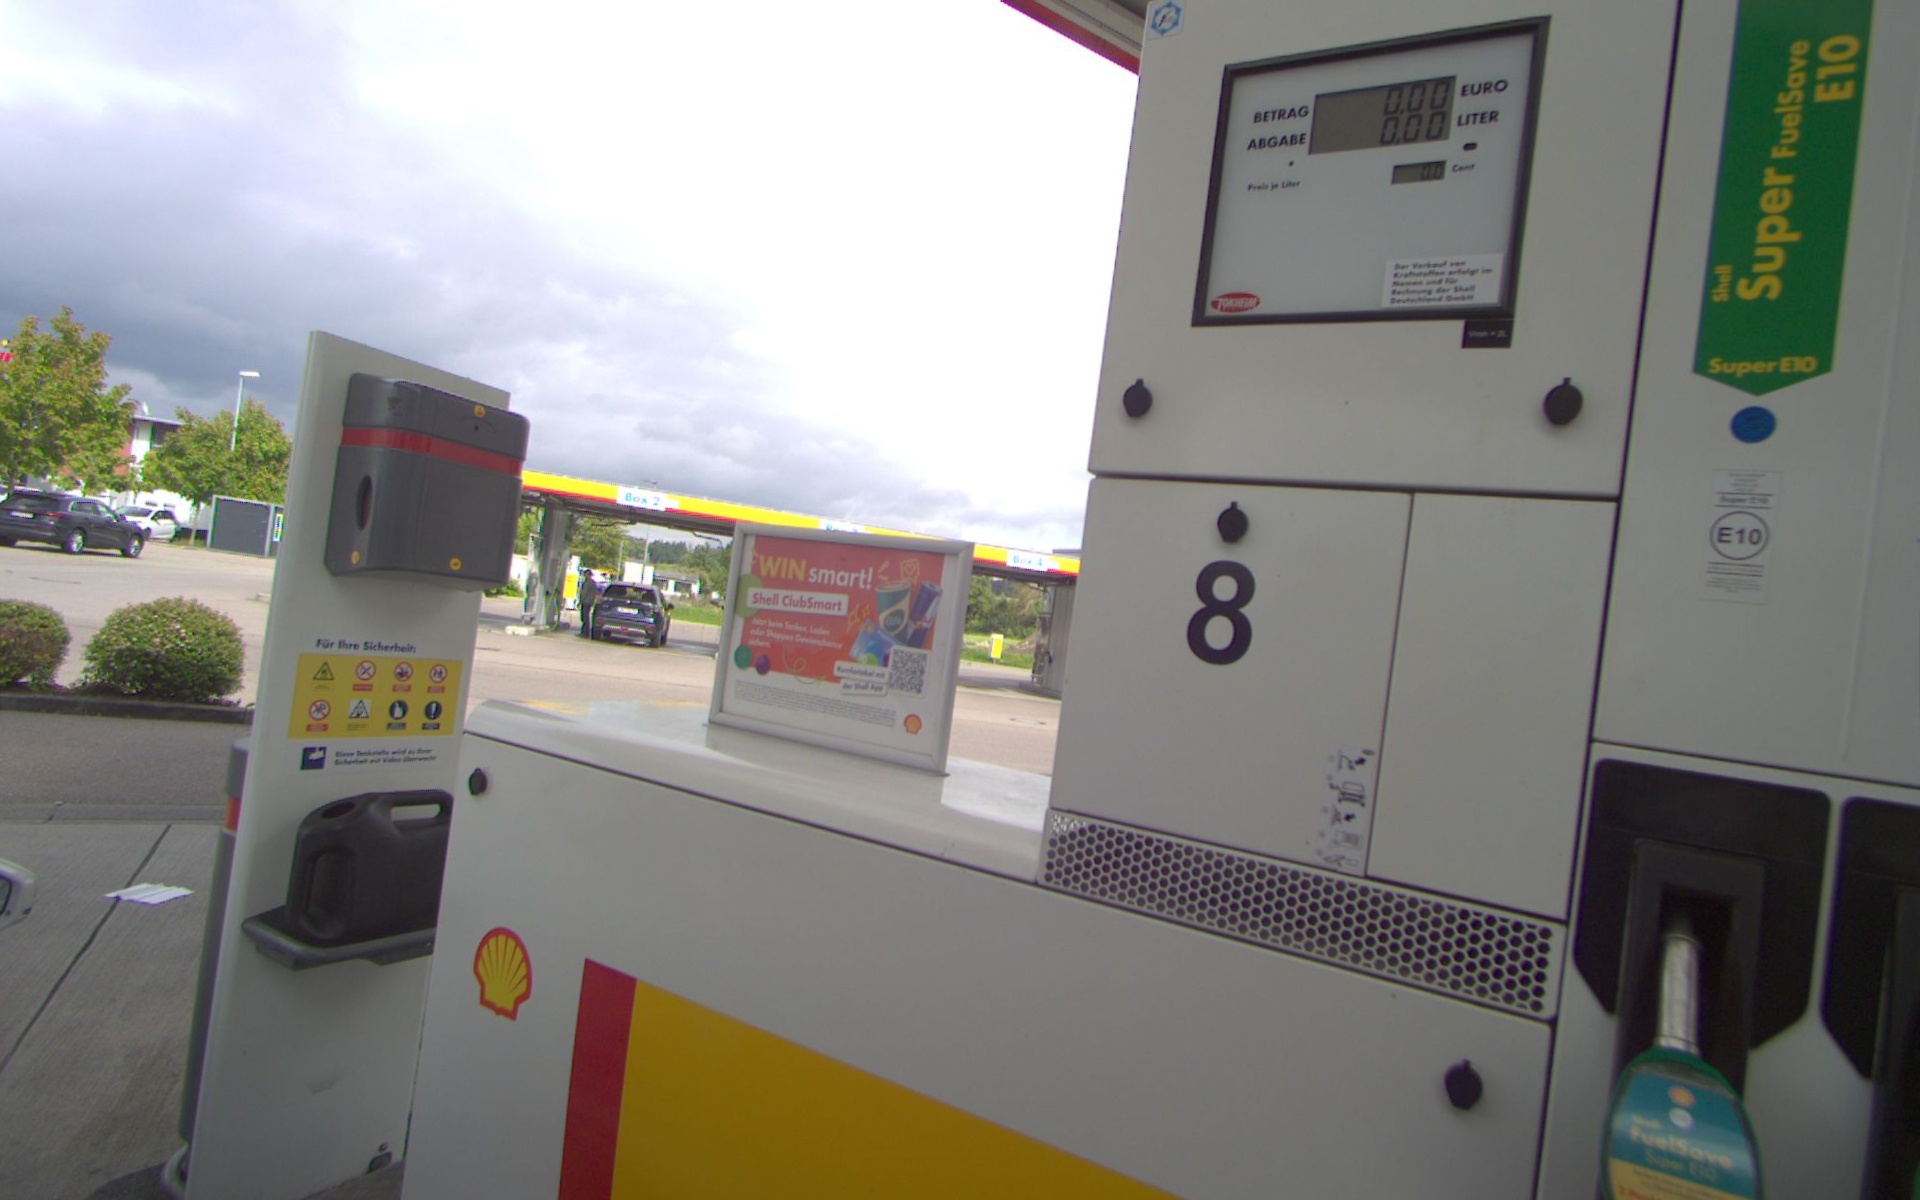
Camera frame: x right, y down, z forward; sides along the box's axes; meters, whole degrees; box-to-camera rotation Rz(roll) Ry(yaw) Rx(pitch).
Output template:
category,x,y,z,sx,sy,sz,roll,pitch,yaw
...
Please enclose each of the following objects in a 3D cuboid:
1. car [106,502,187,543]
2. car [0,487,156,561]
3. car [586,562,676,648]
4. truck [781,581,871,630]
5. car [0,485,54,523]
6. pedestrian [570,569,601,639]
category,x,y,z,sx,sy,sz,roll,pitch,yaw
car,-35.255,-3.341,43.677,1.346,1.322,3.098,8,-2,-12
car,-25.928,-2.170,29.289,1.855,1.566,4.498,8,-2,-10
car,-8.697,0.149,26.888,1.696,1.919,3.800,8,-2,-12
truck,-13.005,0.567,97.533,7.978,3.575,2.687,8,-2,-19
car,-57.354,-5.904,60.276,2.149,1.854,4.870,8,-2,-11
pedestrian,-9.732,0.095,26.139,0.550,1.742,0.526,7,-1,-21
